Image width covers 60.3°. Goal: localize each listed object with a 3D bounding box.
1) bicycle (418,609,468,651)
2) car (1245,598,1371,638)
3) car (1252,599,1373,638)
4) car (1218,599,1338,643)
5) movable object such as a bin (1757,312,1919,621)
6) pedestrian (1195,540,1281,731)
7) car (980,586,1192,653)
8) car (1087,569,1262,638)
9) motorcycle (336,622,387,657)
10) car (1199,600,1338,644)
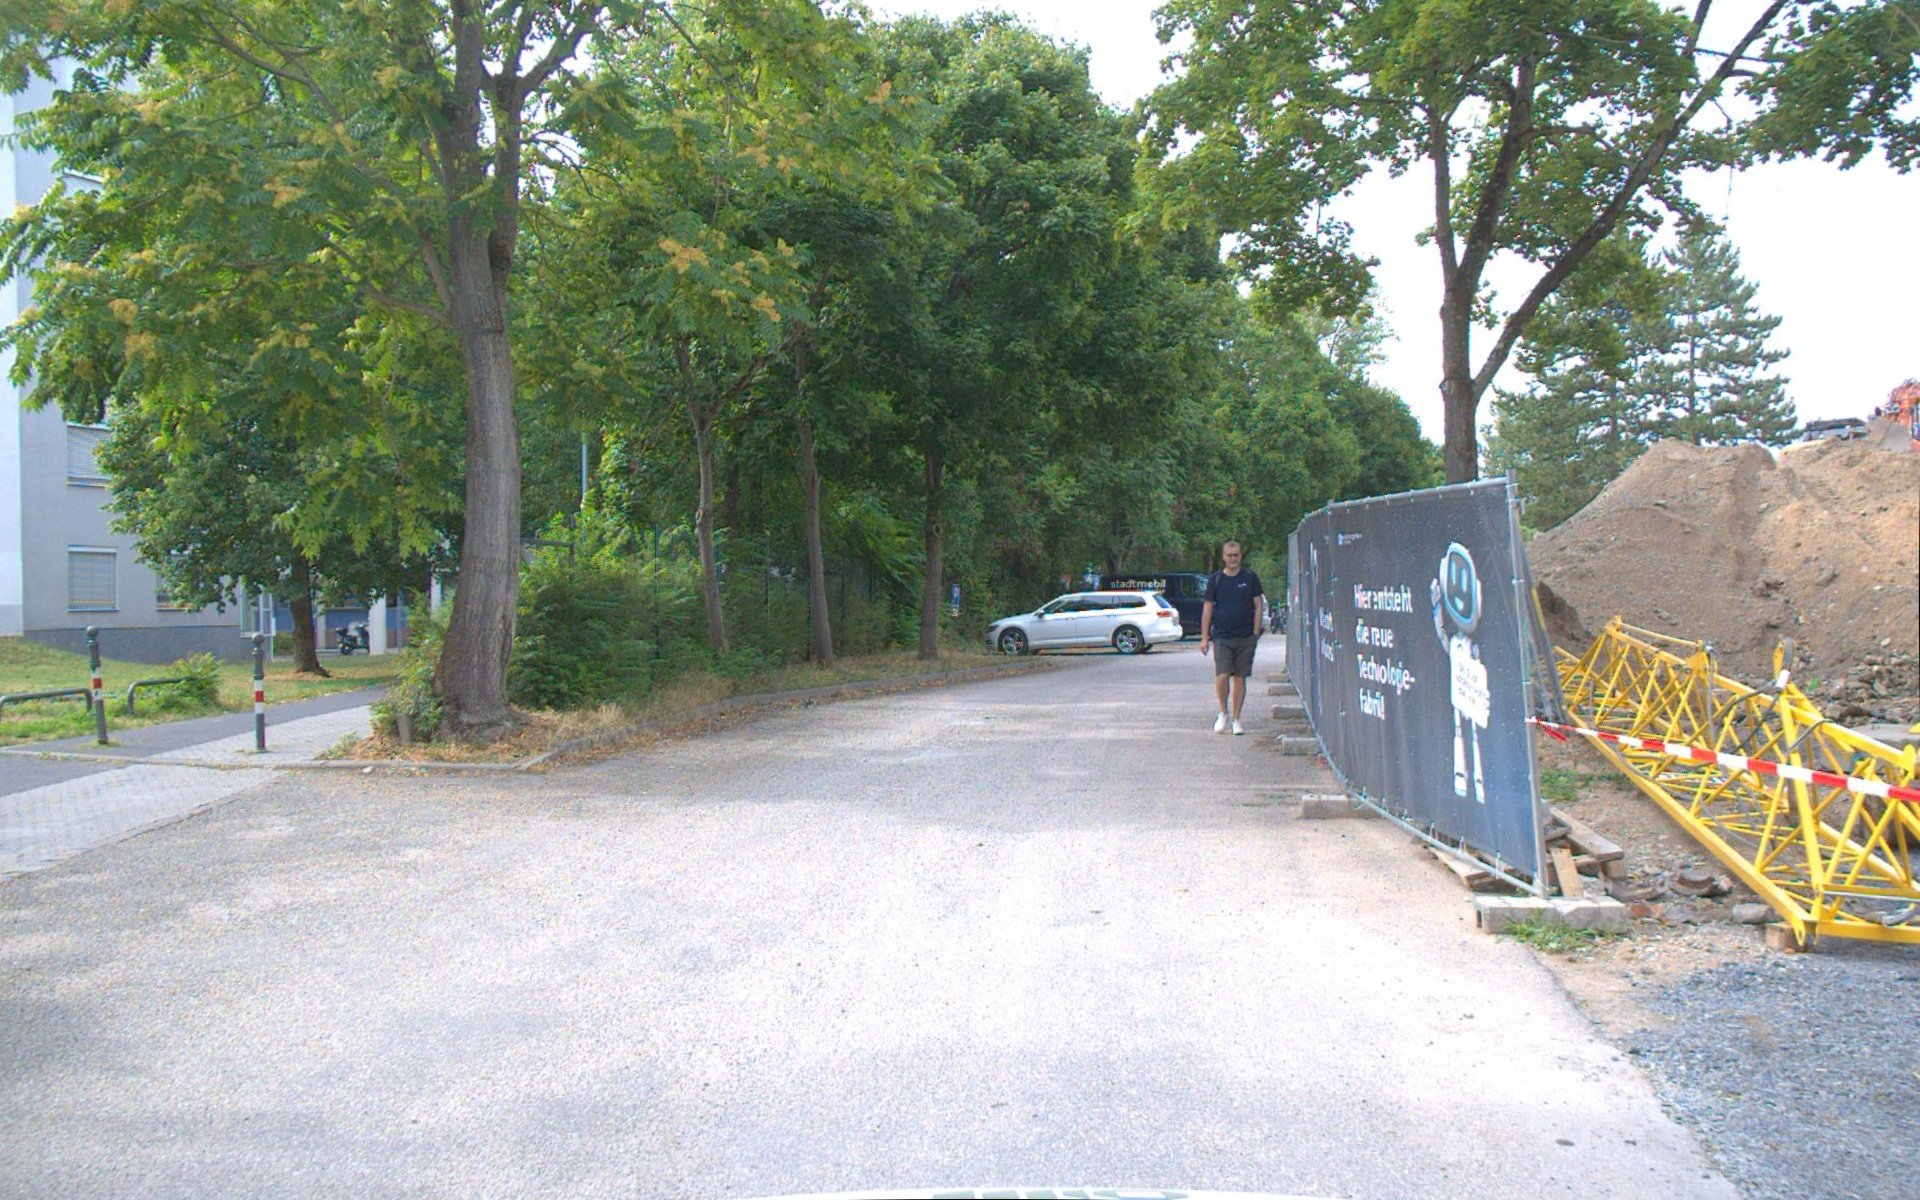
[{"bbox_3d":[-15.252,0.875,48.867,0.636,1.202,1.902,-1,0,8],"label":"bicycle"},{"bbox_3d":[13.579,0.704,64.484,4.691,1.514,2.001,-1,0,16],"label":"car"},{"bbox_3d":[14.331,0.735,67.240,4.691,1.514,2.001,-1,0,16],"label":"car"},{"bbox_3d":[11.856,0.774,61.617,4.242,1.570,1.754,-1,0,16],"label":"car"},{"bbox_3d":[23.766,-3.009,41.407,3.790,6.786,10.917,0,1,43],"label":"movable object such as a bin"},{"bbox_3d":[2.731,0.340,16.195,0.732,1.821,0.731,-1,0,16],"label":"pedestrian"},{"bbox_3d":[3.012,0.447,39.178,4.691,1.514,2.001,-1,0,16],"label":"car"},{"bbox_3d":[6.497,0.112,50.031,4.941,1.987,2.000,-1,0,20],"label":"car"},{"bbox_3d":[-23.419,1.538,64.736,0.652,1.313,2.148,0,0,20],"label":"motorcycle"},{"bbox_3d":[11.042,0.783,59.064,4.691,1.514,2.001,-1,0,16],"label":"car"}]
